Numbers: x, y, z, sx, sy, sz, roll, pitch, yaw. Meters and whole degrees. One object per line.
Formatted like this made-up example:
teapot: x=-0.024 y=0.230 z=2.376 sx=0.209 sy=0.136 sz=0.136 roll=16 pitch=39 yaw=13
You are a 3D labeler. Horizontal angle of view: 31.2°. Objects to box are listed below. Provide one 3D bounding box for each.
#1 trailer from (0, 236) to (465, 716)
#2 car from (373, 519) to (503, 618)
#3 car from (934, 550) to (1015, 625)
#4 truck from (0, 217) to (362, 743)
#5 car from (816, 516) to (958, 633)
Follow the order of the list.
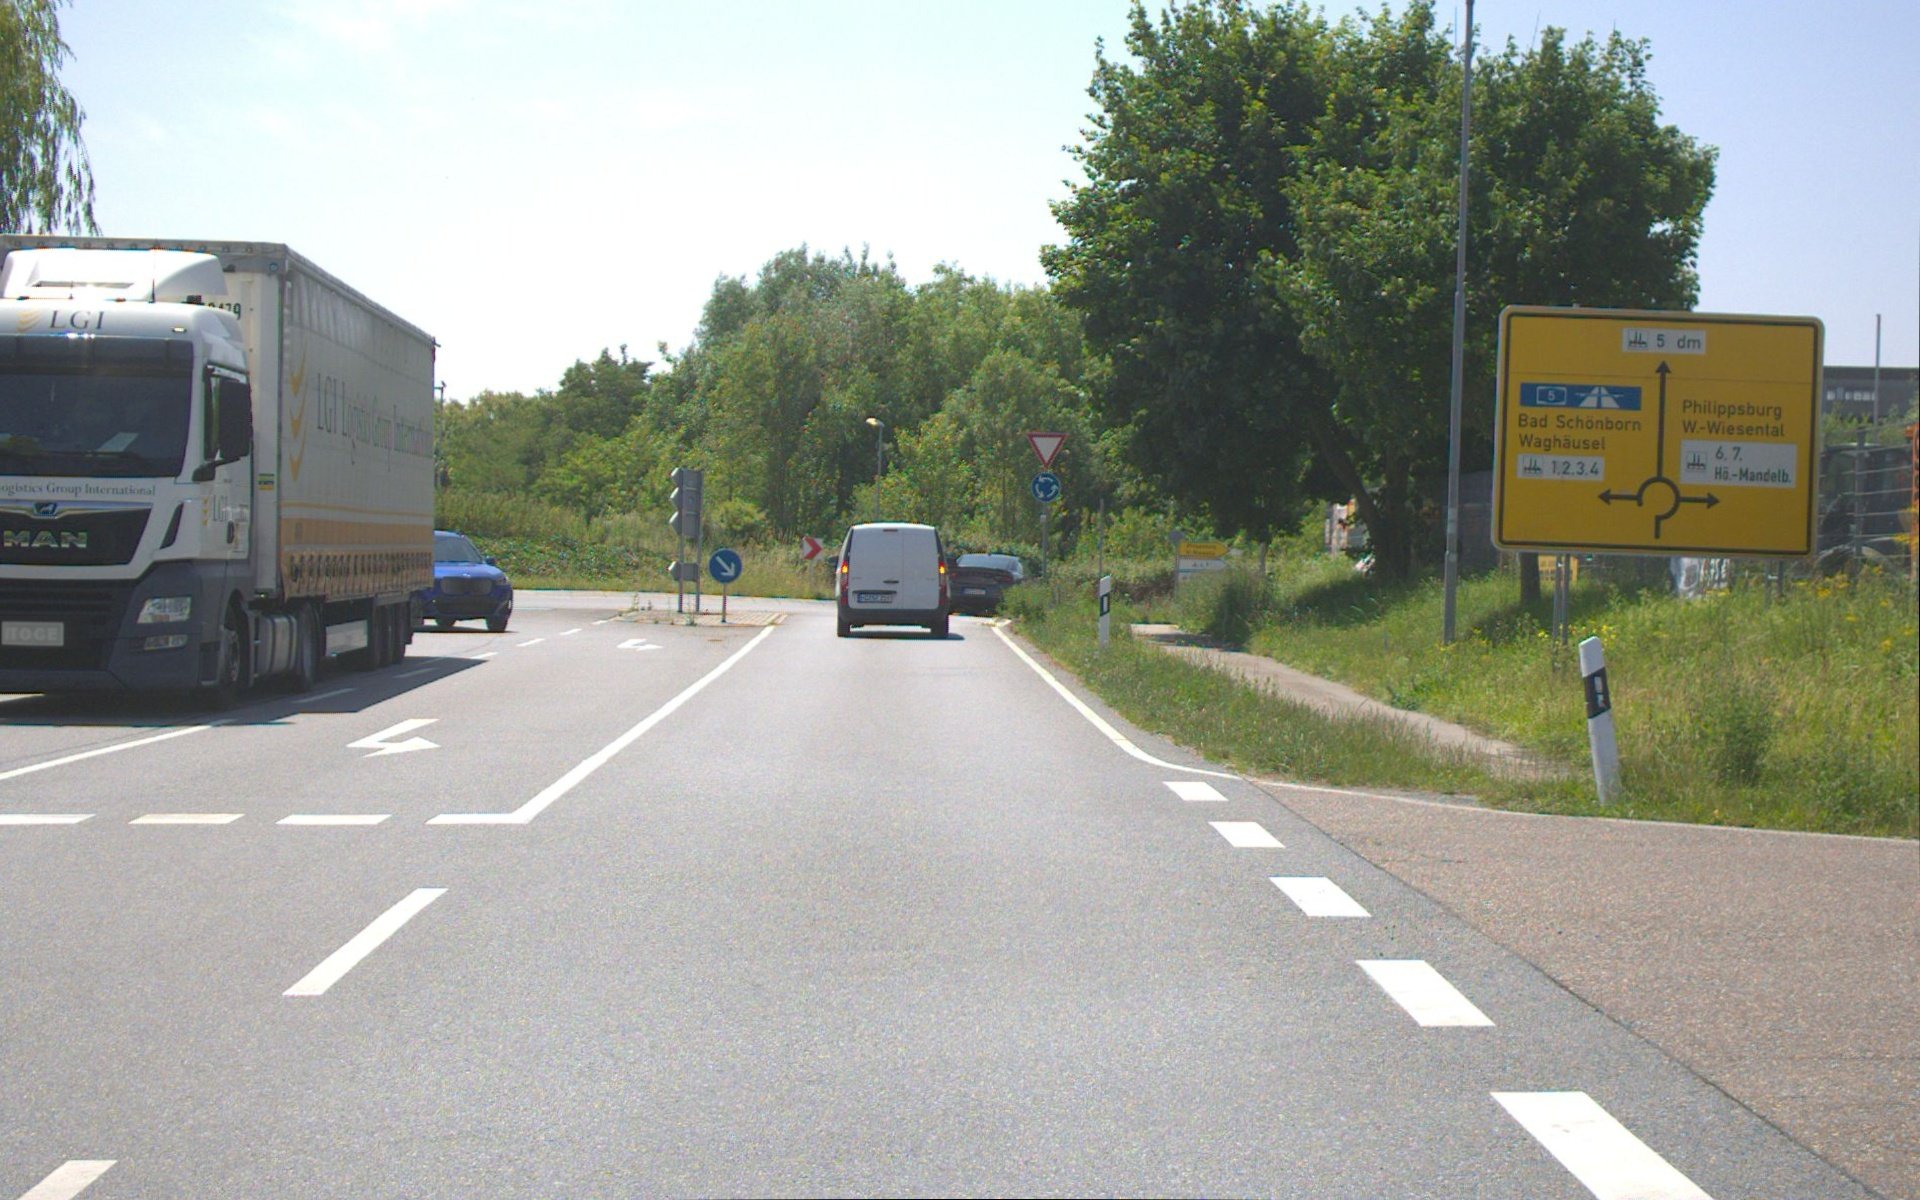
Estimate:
trailer: x=-7.503 y=-1.258 z=36.745 sx=2.789 sy=4.042 sz=13.504 roll=3 pitch=1 yaw=-2
car: x=-8.582 y=-0.540 z=56.293 sx=1.846 sy=1.562 sz=4.001 roll=0 pitch=1 yaw=-12
car: x=0.321 y=-0.315 z=81.275 sx=1.805 sy=1.550 sz=4.001 roll=2 pitch=2 yaw=-1
truck: x=-7.253 y=-1.053 z=30.437 sx=2.789 sy=4.042 sz=6.755 roll=3 pitch=1 yaw=-2
car: x=-1.196 y=-0.415 z=54.590 sx=1.903 sy=1.726 sz=3.823 roll=2 pitch=1 yaw=-6
